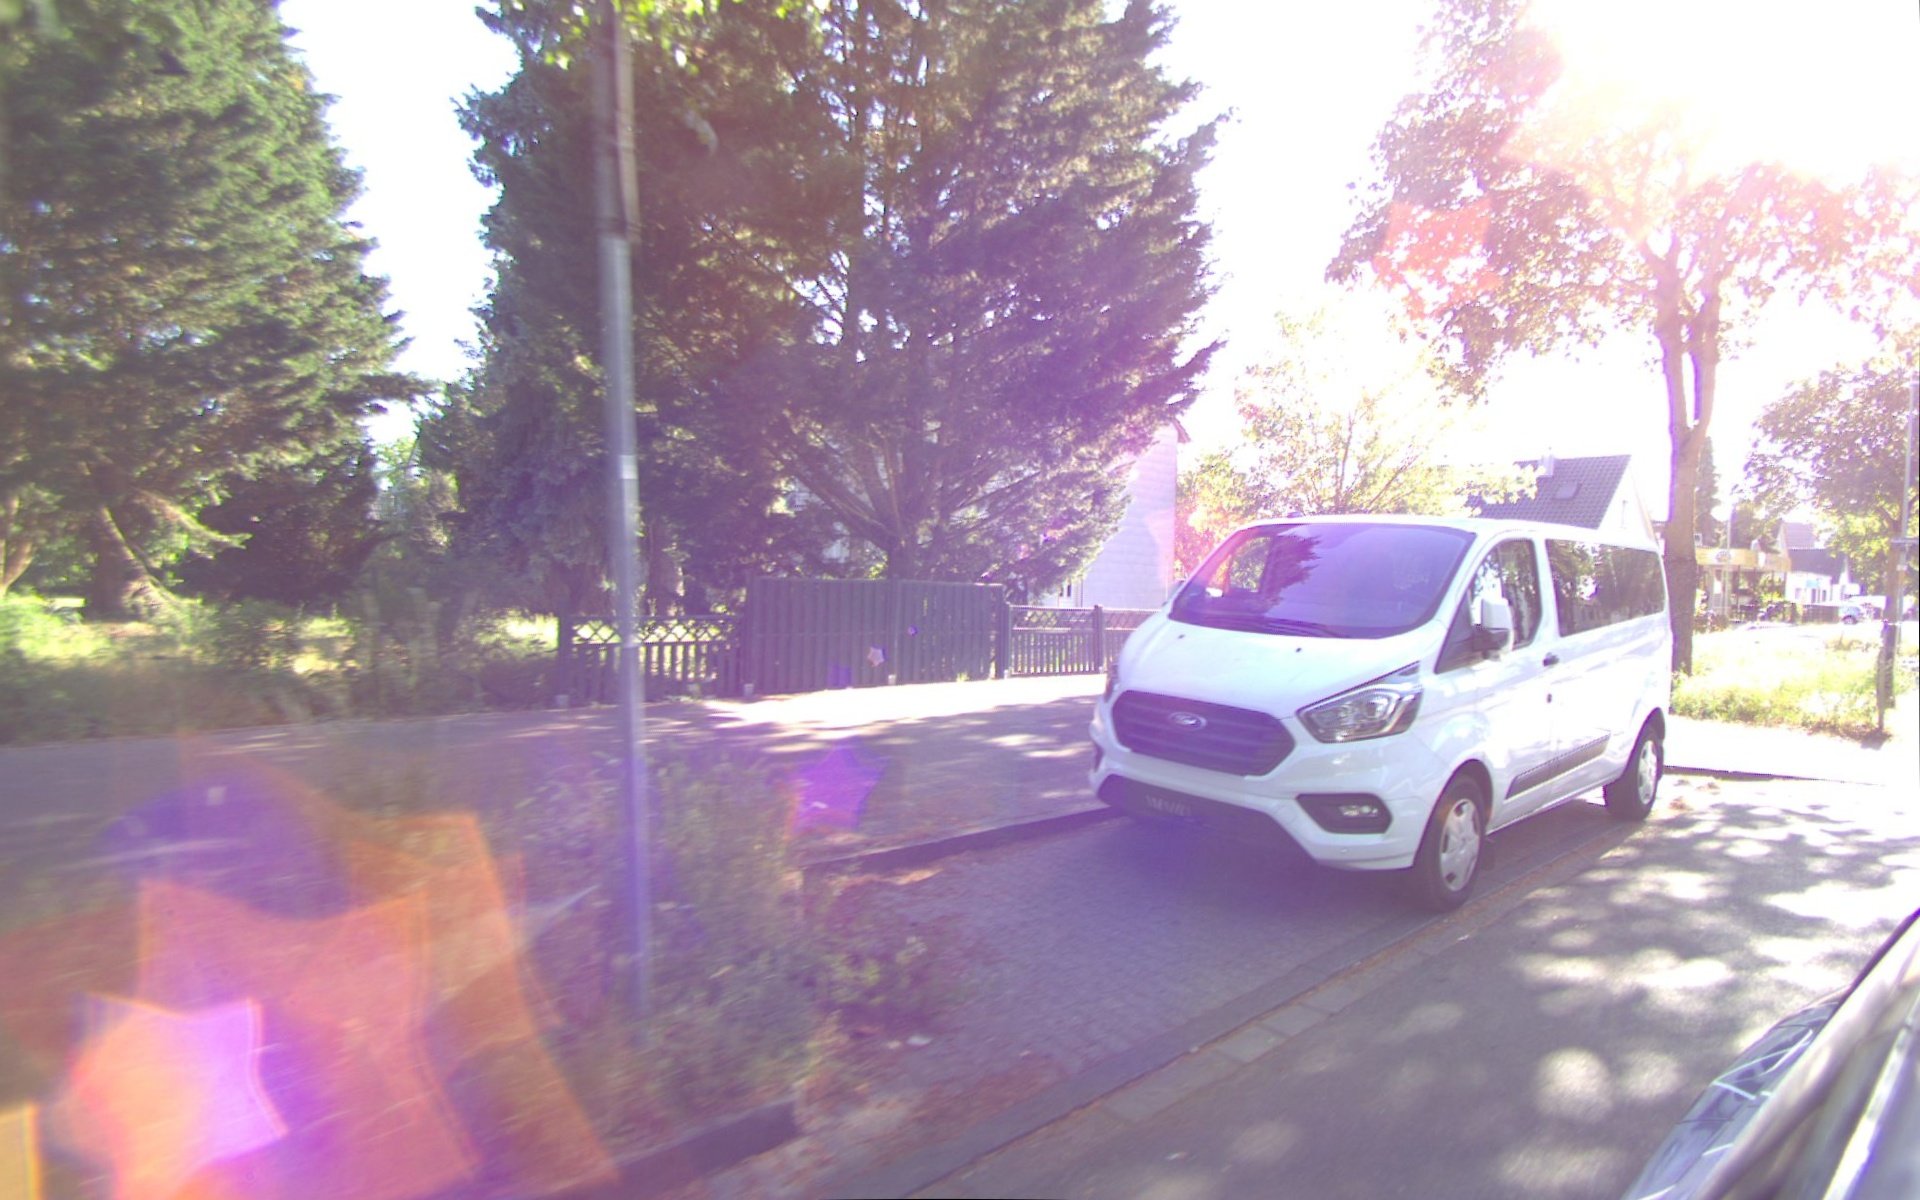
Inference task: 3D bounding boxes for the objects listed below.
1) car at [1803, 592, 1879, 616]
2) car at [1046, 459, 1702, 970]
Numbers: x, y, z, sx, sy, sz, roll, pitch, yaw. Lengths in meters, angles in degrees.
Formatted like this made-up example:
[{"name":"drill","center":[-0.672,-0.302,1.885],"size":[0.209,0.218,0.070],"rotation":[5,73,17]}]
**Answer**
[{"name":"car","center":[57.690,0.281,66.276],"size":[1.668,1.457,3.613],"rotation":[0,-1,-45]},{"name":"car","center":[3.010,0.451,6.545],"size":[5.110,2.039,1.995],"rotation":[-1,-1,-44]}]
